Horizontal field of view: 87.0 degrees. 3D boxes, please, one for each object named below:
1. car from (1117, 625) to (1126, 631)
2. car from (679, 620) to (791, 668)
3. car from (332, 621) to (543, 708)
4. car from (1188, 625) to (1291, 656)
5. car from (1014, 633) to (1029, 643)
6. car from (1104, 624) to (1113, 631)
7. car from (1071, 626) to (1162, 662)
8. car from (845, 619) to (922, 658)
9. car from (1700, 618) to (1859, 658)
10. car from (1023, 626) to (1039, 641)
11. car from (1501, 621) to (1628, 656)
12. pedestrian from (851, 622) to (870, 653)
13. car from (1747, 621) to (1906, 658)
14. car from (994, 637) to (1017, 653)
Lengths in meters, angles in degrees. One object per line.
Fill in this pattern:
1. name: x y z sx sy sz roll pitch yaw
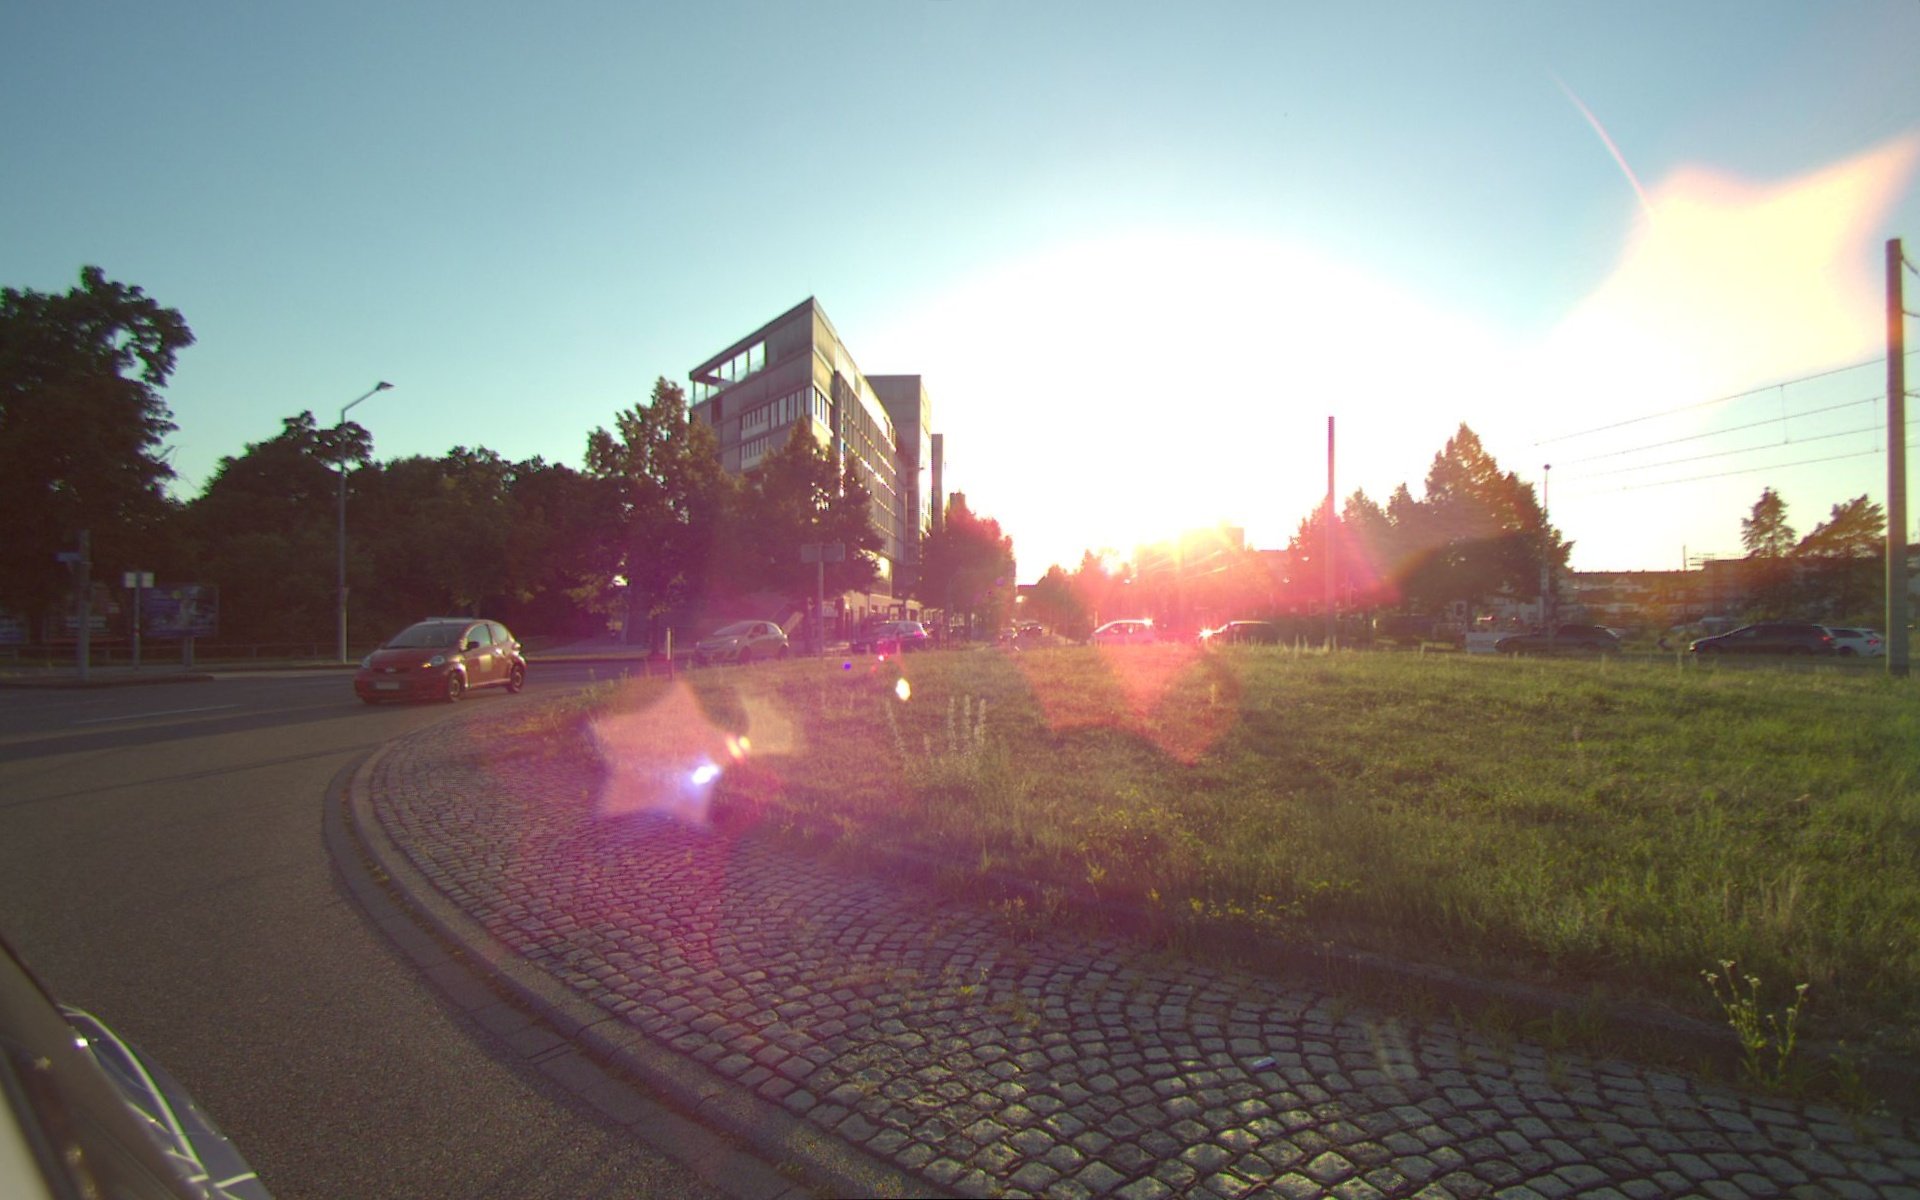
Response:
1. car: 37.606 6.514 235.855 1.976 1.464 3.992 0 -1 6
2. car: -7.240 1.378 32.917 1.677 1.431 3.972 -1 -1 21
3. car: -9.519 1.121 18.829 1.668 1.431 3.995 0 -1 4
4. car: 13.199 1.895 47.983 4.325 1.386 1.999 0 -1 2
5. car: 9.341 5.723 153.704 1.973 1.464 3.998 0 -1 1
6. car: 35.414 6.541 240.987 1.976 1.464 3.992 0 -1 6
7. car: 7.337 2.045 47.720 3.831 1.592 1.958 0 -1 -7
8. car: -3.259 1.620 43.905 1.721 1.590 4.301 0 -1 20
9. car: 30.627 1.391 37.928 1.969 1.386 4.389 1 -2 -42
10. car: 8.989 4.282 127.704 1.974 1.827 5.298 -2 -2 4
11. car: 25.724 1.602 43.113 4.351 1.386 1.972 -1 -2 42
12. pedestrian: -6.696 2.492 67.973 0.995 2.029 0.768 -1 0 29
13. car: 34.829 1.555 40.803 2.075 1.377 4.478 1 -1 -34
14. car: 4.163 4.061 91.684 1.730 1.389 4.116 0 -1 7
